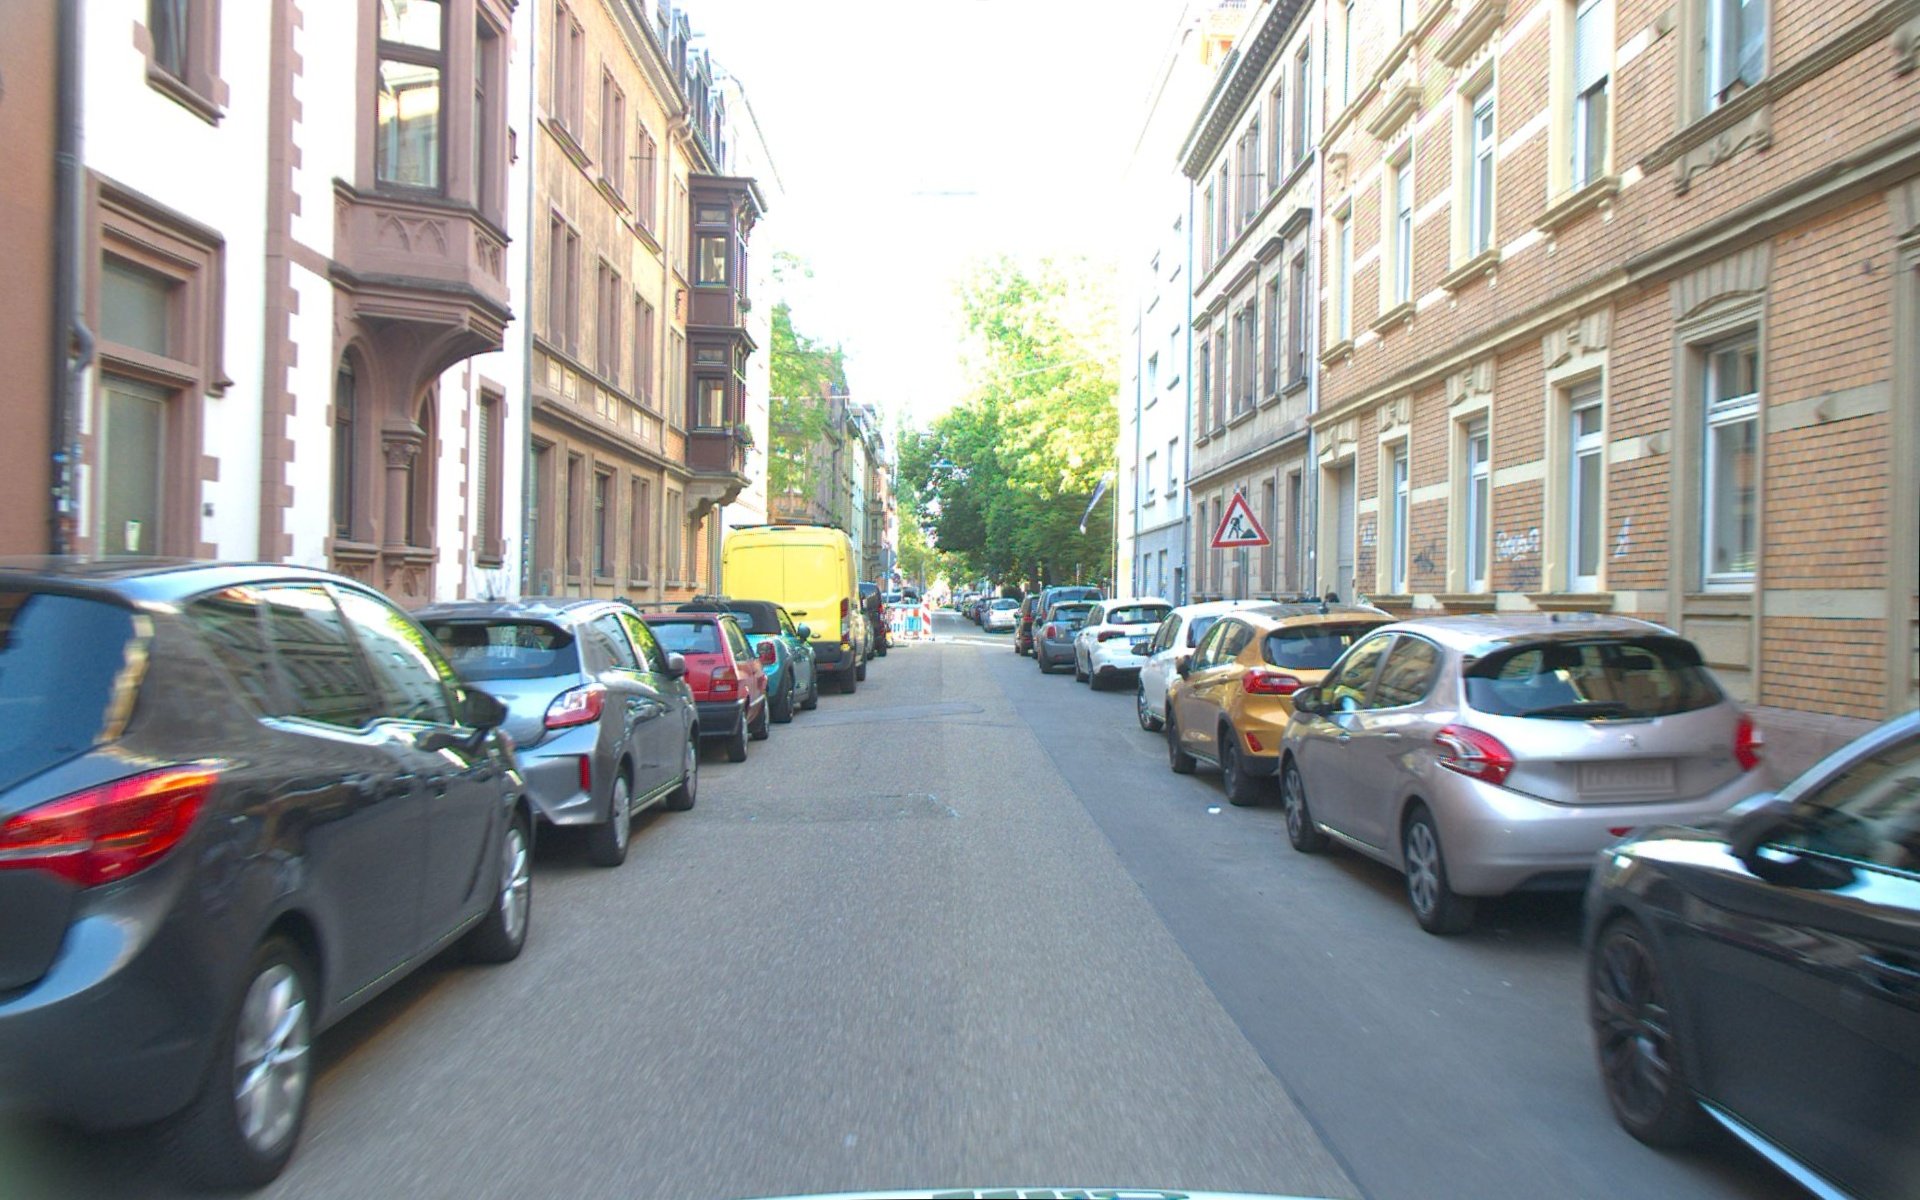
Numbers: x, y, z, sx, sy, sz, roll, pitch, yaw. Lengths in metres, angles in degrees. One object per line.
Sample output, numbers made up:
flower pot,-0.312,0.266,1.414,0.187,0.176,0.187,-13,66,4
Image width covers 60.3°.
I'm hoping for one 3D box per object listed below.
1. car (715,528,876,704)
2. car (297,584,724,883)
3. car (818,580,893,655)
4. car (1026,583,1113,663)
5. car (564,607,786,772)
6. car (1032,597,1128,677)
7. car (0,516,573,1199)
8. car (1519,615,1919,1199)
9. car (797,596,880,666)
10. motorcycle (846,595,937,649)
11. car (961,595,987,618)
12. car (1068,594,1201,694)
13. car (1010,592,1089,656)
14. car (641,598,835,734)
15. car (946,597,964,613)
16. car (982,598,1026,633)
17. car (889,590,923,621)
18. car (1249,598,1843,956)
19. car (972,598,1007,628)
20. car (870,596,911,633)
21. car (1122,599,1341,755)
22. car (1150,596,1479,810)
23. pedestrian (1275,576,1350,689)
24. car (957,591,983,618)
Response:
car,-2.590,0.228,27.473,2.131,2.551,5.877,-2,0,-1
car,-2.625,0.687,10.600,1.659,1.500,3.918,-2,0,-1
car,-2.642,0.421,42.111,1.782,1.797,4.332,1,0,-3
car,2.644,0.521,40.990,1.718,1.817,4.723,-2,0,-1
car,-2.666,0.783,16.182,1.585,1.350,3.611,-2,0,-2
car,2.516,0.739,35.550,1.718,1.478,4.288,-3,0,1
car,-2.575,0.628,5.456,1.745,1.634,4.068,1,0,-2
car,2.803,0.792,3.527,1.741,1.421,4.317,1,0,0
car,-2.721,0.679,37.650,1.643,1.475,3.644,2,0,-1
motorcycle,-1.960,0.638,47.540,2.483,1.508,0.895,1,0,-28
car,1.051,0.484,127.585,1.792,1.733,3.999,1,0,-2
car,3.045,0.714,29.670,1.718,1.544,4.442,-3,0,-2
car,2.423,0.644,45.656,1.862,1.669,4.389,1,-1,-1
car,-2.682,0.746,20.796,1.683,1.437,3.898,-4,0,2
car,-0.591,0.505,184.336,1.953,1.758,3.999,0,0,-1
car,1.976,0.692,75.081,1.689,1.549,3.997,0,0,-3
car,-3.853,0.400,119.153,2.262,2.151,5.169,1,-1,0
car,2.940,0.773,9.311,1.691,1.442,4.092,-3,0,-2
car,1.719,0.755,96.360,1.856,1.654,3.999,1,-1,-2
car,-3.398,0.697,81.249,1.843,1.737,4.000,-1,-1,0
car,2.990,0.788,19.028,1.686,1.506,4.081,-3,0,-1
car,2.817,0.752,14.054,1.719,1.471,4.067,-3,0,-2
pedestrian,5.300,0.480,24.873,0.650,1.659,0.867,0,-1,-42
car,0.837,0.417,146.809,2.117,2.295,4.524,1,-1,-2
